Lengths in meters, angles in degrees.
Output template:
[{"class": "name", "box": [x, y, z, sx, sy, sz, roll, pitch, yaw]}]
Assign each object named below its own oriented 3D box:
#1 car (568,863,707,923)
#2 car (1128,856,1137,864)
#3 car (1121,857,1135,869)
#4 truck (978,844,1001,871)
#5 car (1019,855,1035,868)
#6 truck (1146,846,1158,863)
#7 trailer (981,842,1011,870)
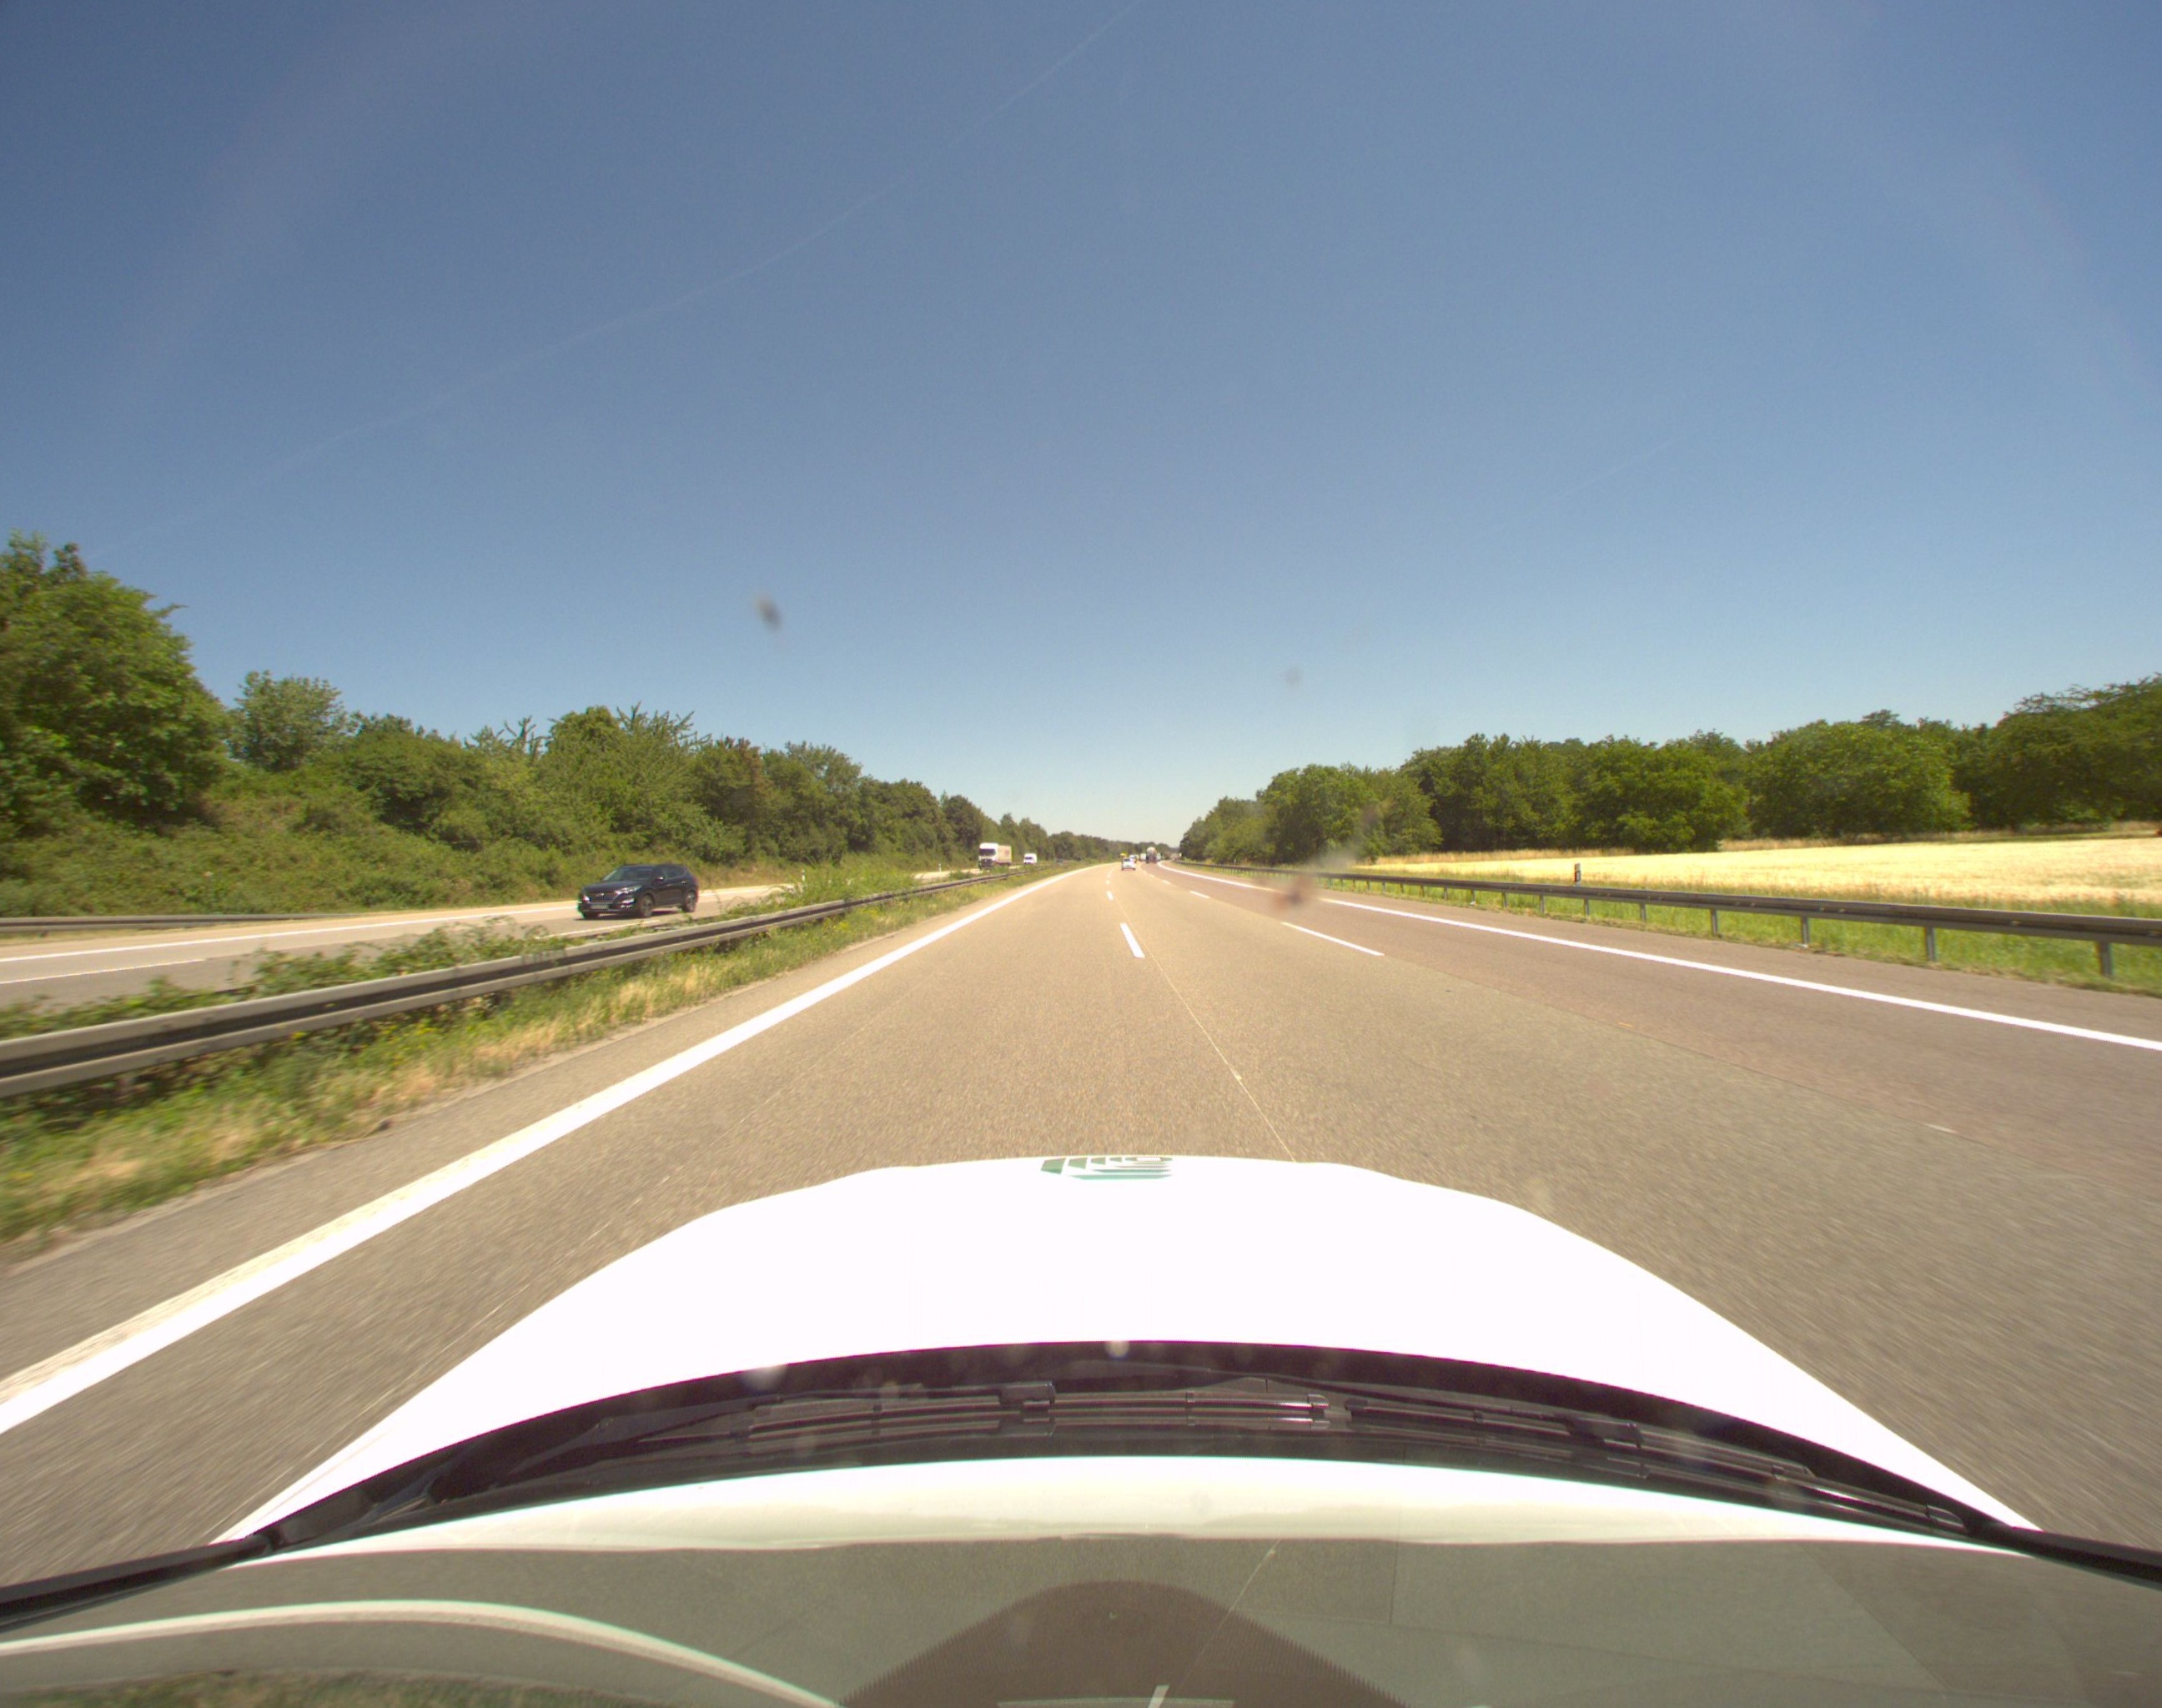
[{"class": "car", "box": [-13.798, 1.146, 25.675, 1.819, 1.632, 4.559, -1, 0, 0]}, {"class": "car", "box": [12.991, 1.450, 204.425, 1.983, 2.013, 4.008, -2, 0, 7]}, {"class": "car", "box": [5.852, 1.138, 101.424, 1.621, 1.479, 4.003, -1, -1, 3]}, {"class": "truck", "box": [-13.826, 0.493, 122.983, 2.691, 3.965, 4.446, -2, -1, 3]}, {"class": "car", "box": [-10.935, 1.513, 165.498, 2.219, 2.576, 7.398, -2, 0, 3]}, {"class": "truck", "box": [17.735, 0.269, 203.045, 2.727, 4.052, 10.465, -1, -1, 4]}, {"class": "trailer", "box": [-13.489, 0.403, 130.073, 2.695, 4.184, 13.567, -2, 0, 3]}]
